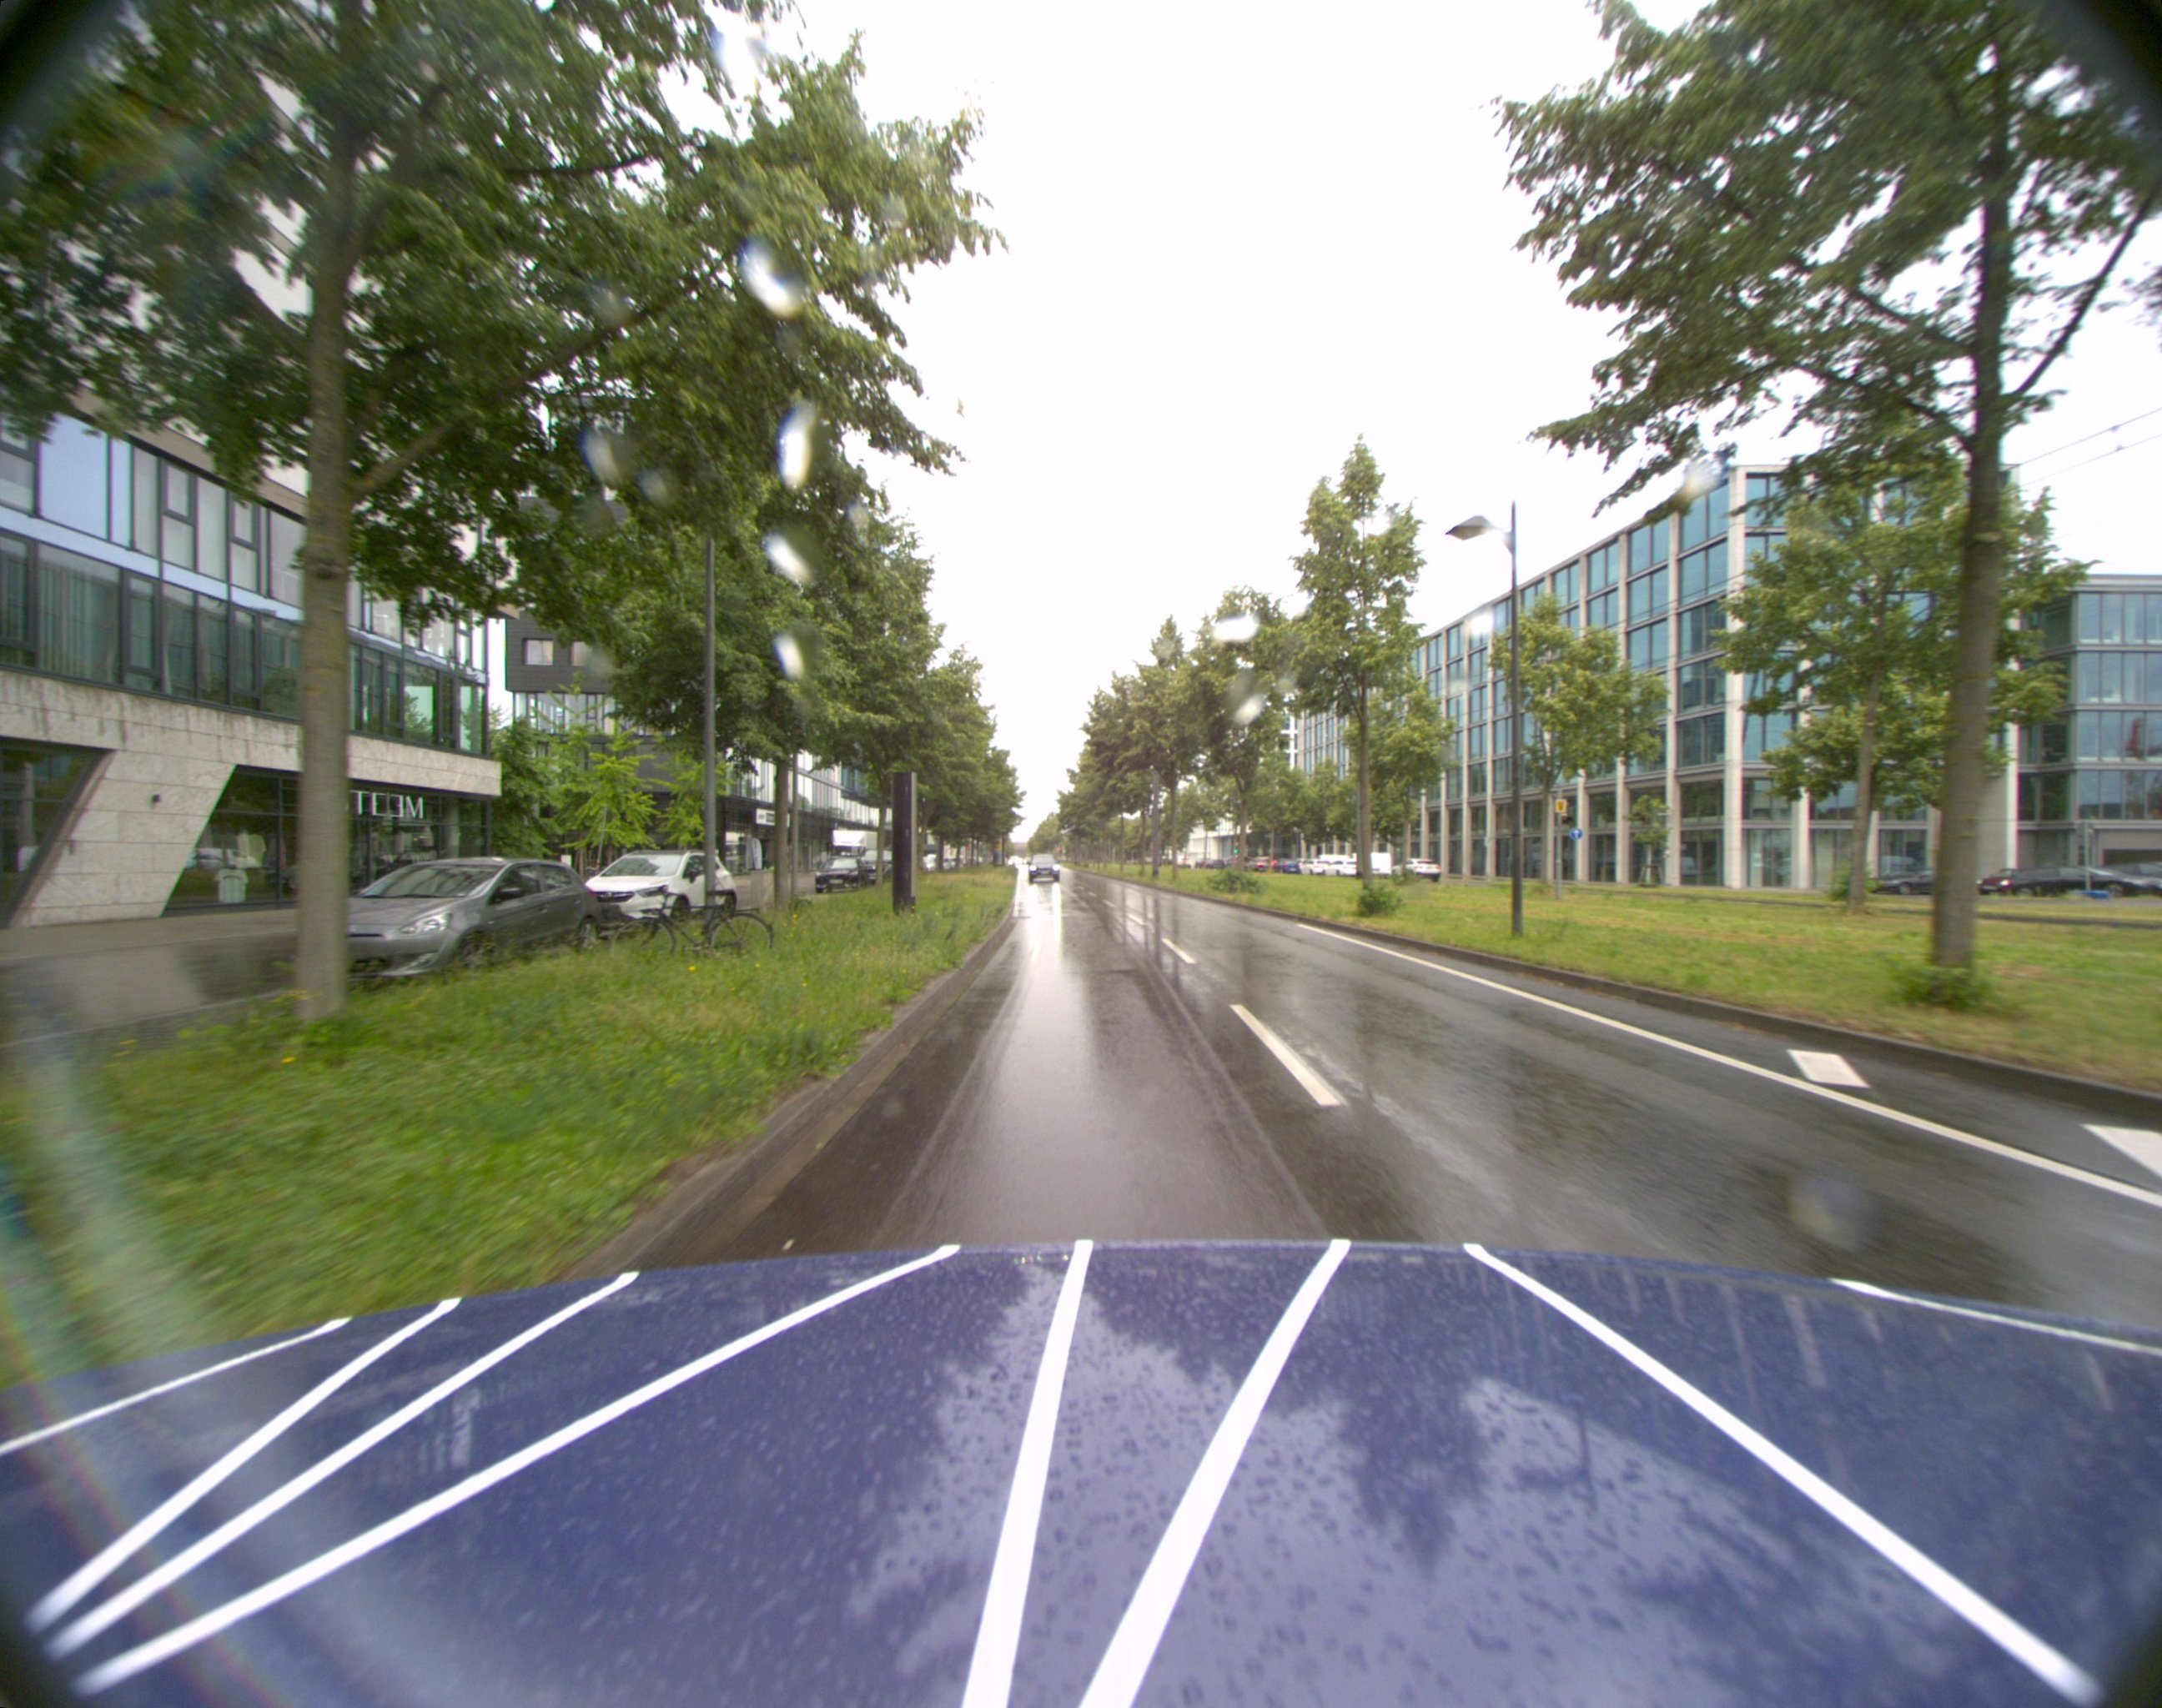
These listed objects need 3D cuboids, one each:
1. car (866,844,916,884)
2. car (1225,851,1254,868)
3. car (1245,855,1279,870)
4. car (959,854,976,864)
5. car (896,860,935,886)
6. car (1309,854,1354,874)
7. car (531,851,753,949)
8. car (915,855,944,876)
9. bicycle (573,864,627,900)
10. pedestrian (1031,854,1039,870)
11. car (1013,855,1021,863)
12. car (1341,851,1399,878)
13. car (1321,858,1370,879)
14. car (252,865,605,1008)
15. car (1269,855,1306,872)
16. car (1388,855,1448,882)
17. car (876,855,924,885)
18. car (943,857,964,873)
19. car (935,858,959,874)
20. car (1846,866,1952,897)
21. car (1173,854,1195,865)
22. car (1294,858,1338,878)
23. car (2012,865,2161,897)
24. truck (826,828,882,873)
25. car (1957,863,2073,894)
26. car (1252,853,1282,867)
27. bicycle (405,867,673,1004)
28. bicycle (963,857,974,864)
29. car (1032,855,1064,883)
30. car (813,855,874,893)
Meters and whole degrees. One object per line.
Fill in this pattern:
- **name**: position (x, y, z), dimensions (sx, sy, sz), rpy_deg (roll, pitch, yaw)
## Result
- **car**: position (-9.698, 0.566, 39.095), dimensions (2.000, 1.940, 5.027), rpy_deg (0, -2, -8)
- **car**: position (17.819, 0.614, 85.670), dimensions (1.956, 1.837, 4.542), rpy_deg (0, -1, -5)
- **car**: position (18.316, 0.903, 77.202), dimensions (1.956, 1.377, 4.604), rpy_deg (0, -2, -5)
- **car**: position (-16.484, 0.730, 110.542), dimensions (1.999, 1.446, 4.957), rpy_deg (0, 0, -4)
- **car**: position (-11.453, 1.288, 52.730), dimensions (1.999, 1.659, 4.722), rpy_deg (-2, 0, -5)
- **car**: position (22.367, 0.896, 68.054), dimensions (1.957, 1.641, 5.028), rpy_deg (0, -2, -6)
- **car**: position (-8.511, 0.870, 15.345), dimensions (1.999, 1.659, 4.723), rpy_deg (0, -2, -4)
- **car**: position (-11.692, 0.907, 58.987), dimensions (1.775, 1.443, 4.722), rpy_deg (-4, -1, -7)
- **bicycle**: position (-16.037, 0.905, 25.395), dimensions (0.519, 1.124, 2.064), rpy_deg (0, 0, -2)
- **pedestrian**: position (-4.186, 0.741, 68.841), dimensions (0.644, 1.484, 0.699), rpy_deg (0, 1, -6)
- **car**: position (-12.767, 0.995, 151.362), dimensions (1.688, 1.520, 3.968), rpy_deg (0, -2, -6)
- **car**: position (22.786, 0.892, 60.161), dimensions (2.274, 1.994, 5.373), rpy_deg (0, -2, -3)
- **car**: position (19.822, 1.134, 57.142), dimensions (1.956, 1.452, 4.832), rpy_deg (0, -2, -1)
- **car**: position (-7.974, 0.895, 9.803), dimensions (1.630, 1.482, 3.654), rpy_deg (0, -1, -5)
- **car**: position (19.048, 0.913, 70.166), dimensions (1.957, 1.485, 3.961), rpy_deg (0, -2, -6)
- **car**: position (23.020, 0.949, 52.092), dimensions (1.956, 1.739, 4.575), rpy_deg (0, 0, -1)
- **car**: position (-10.987, 0.984, 46.374), dimensions (1.999, 1.659, 4.957), rpy_deg (-2, -1, -4)
- **car**: position (-13.204, 1.159, 78.868), dimensions (1.766, 1.586, 4.100), rpy_deg (0, -2, -4)
- **car**: position (-12.892, 1.163, 73.508), dimensions (2.000, 1.436, 5.233), rpy_deg (0, 0, -7)
- **car**: position (43.897, 1.459, 40.824), dimensions (3.798, 1.599, 1.745), rpy_deg (0, -2, -1)
- **car**: position (13.643, 0.700, 100.452), dimensions (1.956, 1.444, 4.574), rpy_deg (0, 0, -5)
- **car**: position (19.552, 1.138, 63.304), dimensions (1.956, 1.504, 4.574), rpy_deg (0, 0, -5)
- **car**: position (40.962, 1.089, 30.932), dimensions (1.505, 1.232, 3.660), rpy_deg (0, -2, -2)
- **truck**: position (-18.412, -0.279, 62.157), dimensions (3.034, 3.421, 8.542), rpy_deg (0, 0, -7)
- **car**: position (50.607, 1.342, 41.211), dimensions (4.158, 1.599, 1.745), rpy_deg (0, -2, -1)
- **car**: position (21.138, 0.697, 86.558), dimensions (1.957, 1.377, 4.271), rpy_deg (0, -2, -6)
- **bicycle**: position (-4.953, 0.728, 7.027), dimensions (2.041, 1.189, 0.491), rpy_deg (0, 1, -4)
- **bicycle**: position (-15.231, 0.910, 102.802), dimensions (1.458, 0.911, 0.434), rpy_deg (-1, -2, 28)
- **car**: position (-2.120, 0.911, 48.233), dimensions (1.929, 1.650, 4.714), rpy_deg (1, 0, -3)
- **car**: position (-10.094, 0.811, 32.612), dimensions (1.963, 1.504, 4.478), rpy_deg (0, 0, -10)
